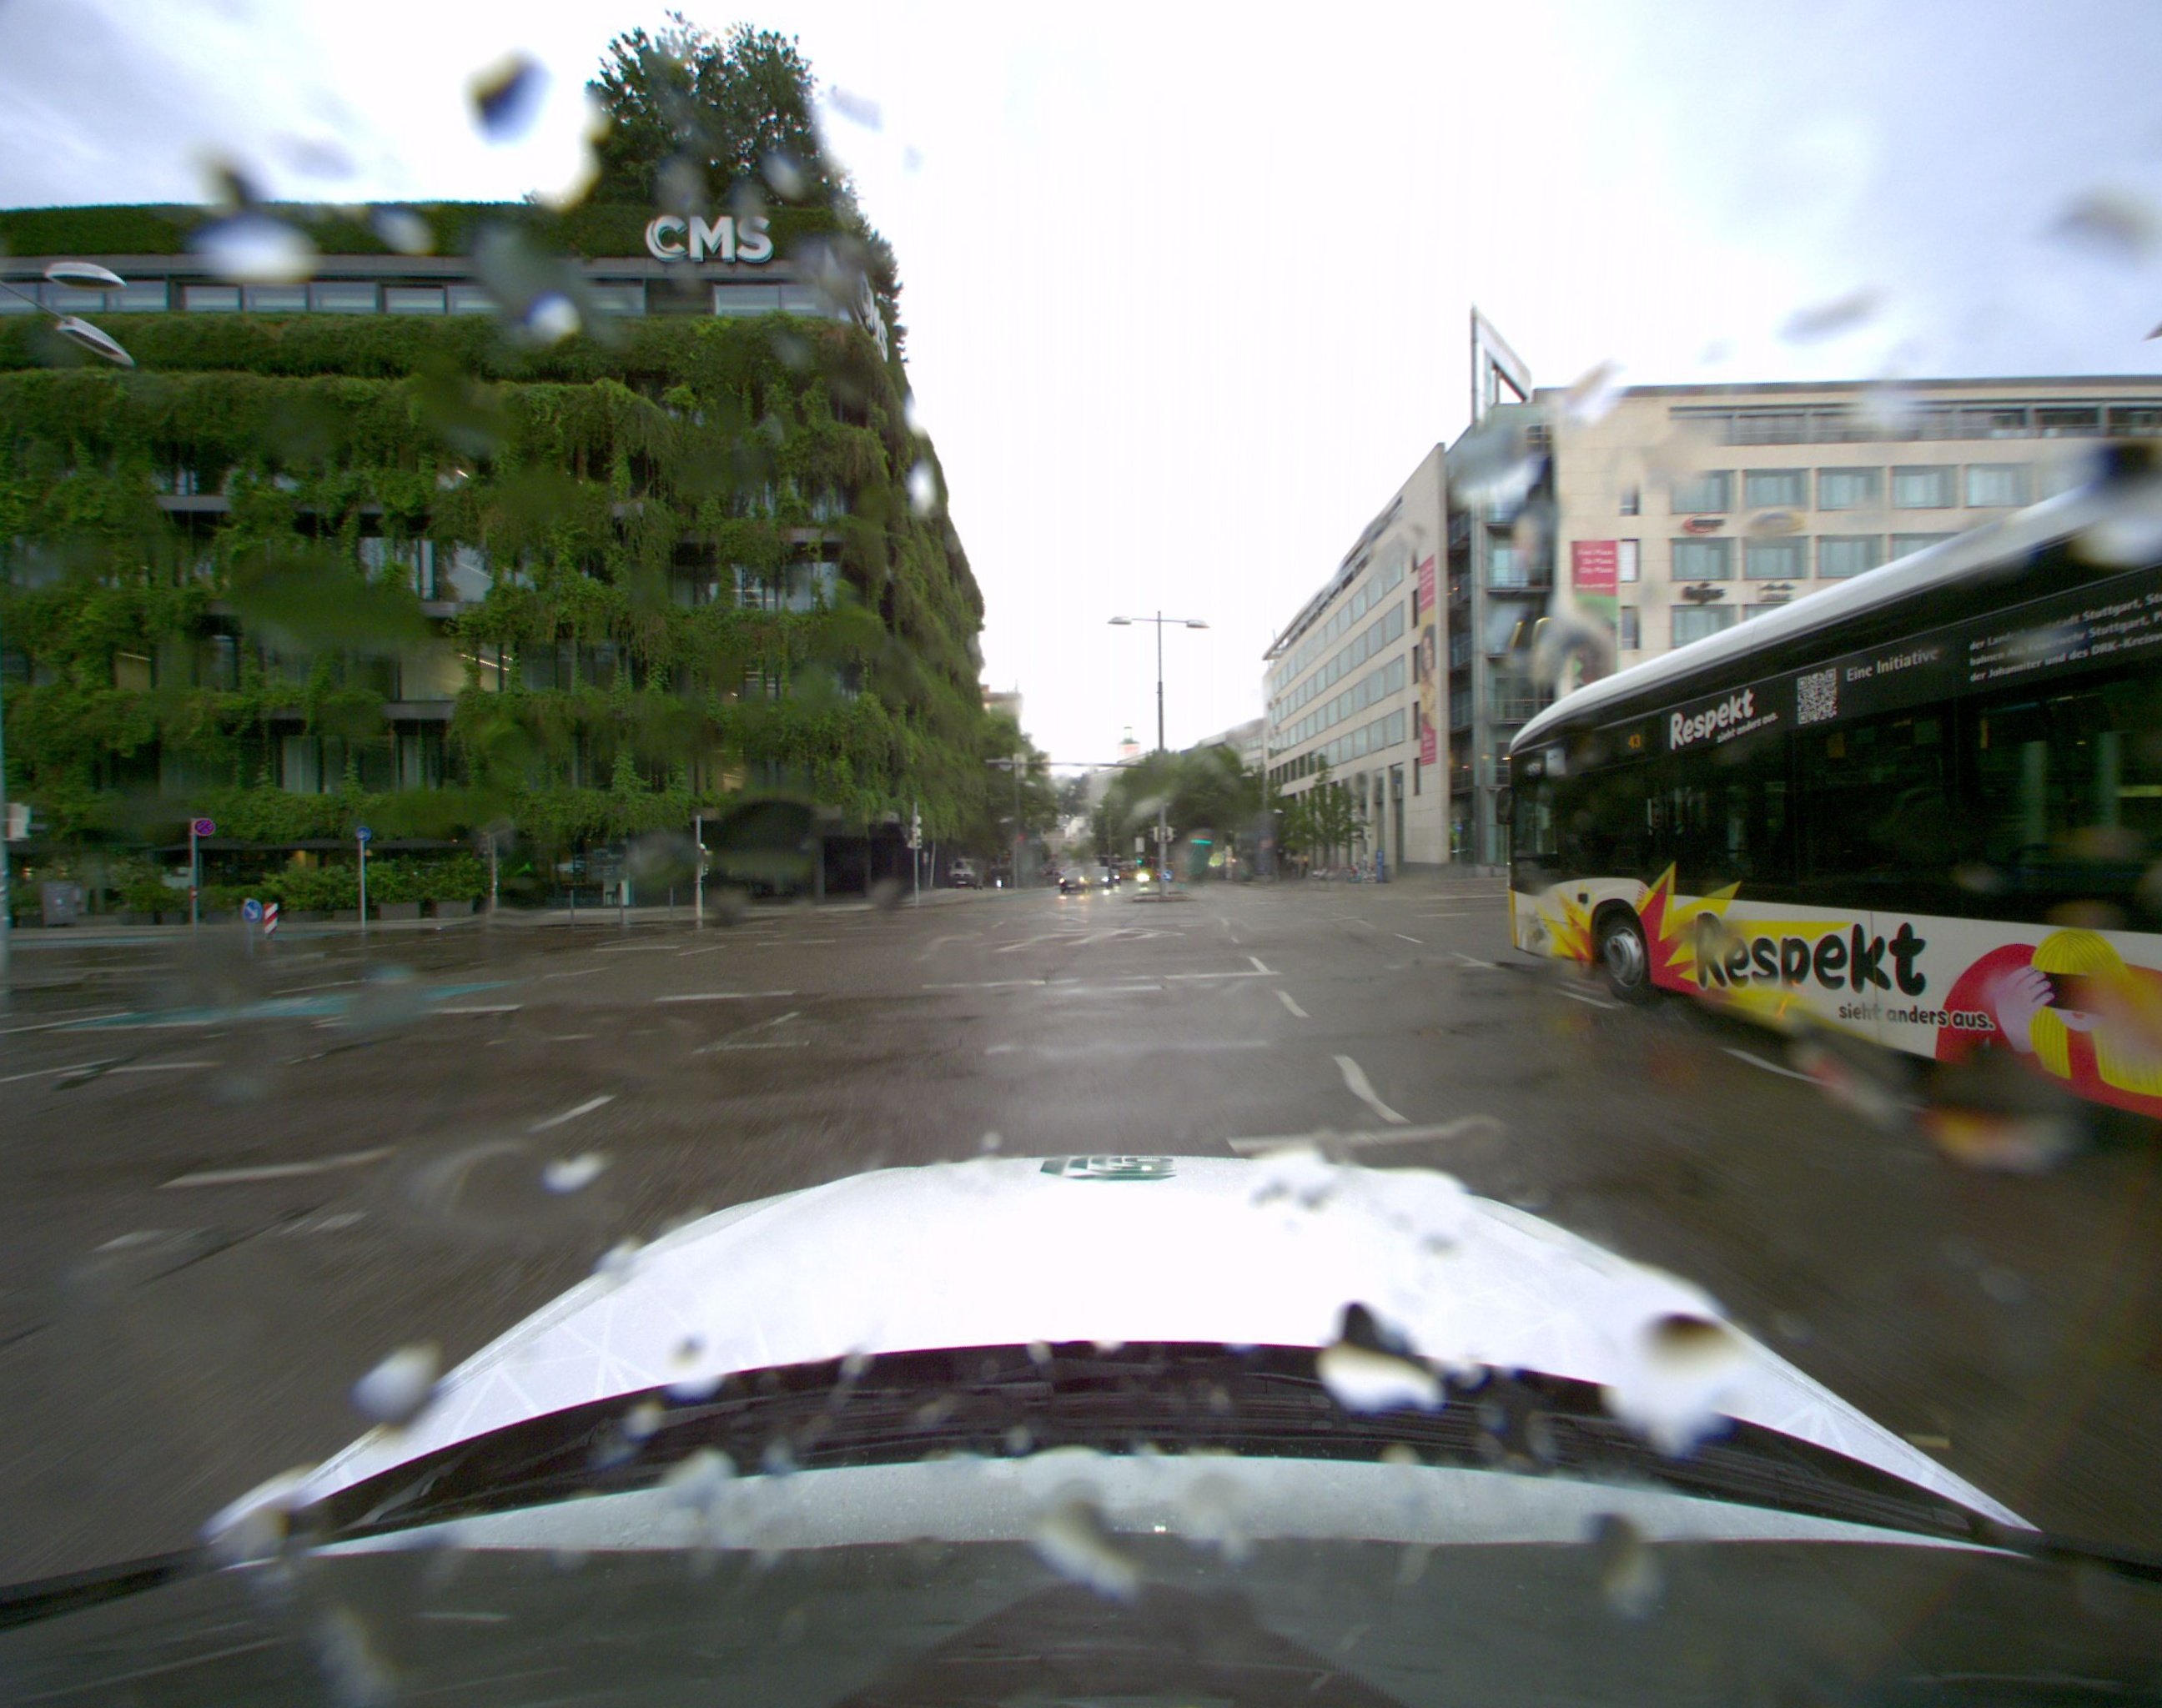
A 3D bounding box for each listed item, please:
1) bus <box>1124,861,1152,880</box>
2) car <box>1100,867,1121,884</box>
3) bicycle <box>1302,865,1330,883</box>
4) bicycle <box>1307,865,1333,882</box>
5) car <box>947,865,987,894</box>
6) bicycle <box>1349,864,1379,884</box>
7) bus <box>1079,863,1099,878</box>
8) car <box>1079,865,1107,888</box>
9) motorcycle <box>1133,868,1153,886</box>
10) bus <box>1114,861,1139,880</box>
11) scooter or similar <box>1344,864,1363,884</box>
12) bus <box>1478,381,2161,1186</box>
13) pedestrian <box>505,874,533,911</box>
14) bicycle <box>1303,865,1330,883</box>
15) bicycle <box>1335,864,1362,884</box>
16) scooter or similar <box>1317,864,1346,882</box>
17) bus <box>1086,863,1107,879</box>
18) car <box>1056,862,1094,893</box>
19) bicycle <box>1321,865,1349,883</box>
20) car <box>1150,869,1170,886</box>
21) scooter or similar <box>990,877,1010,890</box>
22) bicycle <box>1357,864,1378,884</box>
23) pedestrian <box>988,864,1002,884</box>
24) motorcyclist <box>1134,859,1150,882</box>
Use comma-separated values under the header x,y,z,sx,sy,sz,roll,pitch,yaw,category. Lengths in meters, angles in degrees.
x,y,z,sx,sy,sz,roll,pitch,yaw,category
9.046,2.636,130.891,2.629,2.995,7.420,-1,-1,-11,bus
3.199,2.334,87.855,2.156,1.765,5.113,-1,-1,2,car
16.447,1.406,56.967,1.768,1.194,0.587,-1,-2,6,bicycle
17.155,1.435,58.476,1.768,1.194,0.587,-1,-2,6,bicycle
-7.533,1.688,54.143,1.862,1.839,4.004,-1,-1,4,car
17.003,1.201,48.974,1.606,1.194,0.590,-2,-2,30,bicycle
1.647,3.352,165.896,2.629,2.995,7.420,-1,-1,-11,bus
1.038,1.813,65.896,2.156,1.765,5.113,-1,-1,2,car
5.414,2.021,71.350,1.546,1.515,4.385,-1,-1,2,motorcycle
7.669,2.782,138.155,2.629,2.995,7.420,-1,-1,-11,bus
16.195,1.195,48.342,0.952,1.194,0.458,-2,-2,44,scooter or similar
6.310,-0.254,5.908,2.869,3.451,9.770,-1,-1,5,bus
-20.420,1.382,29.600,0.611,1.311,0.598,-1,-1,-2,pedestrian
16.649,1.419,57.590,1.768,1.194,0.587,-1,-2,6,bicycle
16.600,1.245,50.558,0.587,1.194,1.769,0,-2,-24,bicycle
16.978,1.269,55.136,1.768,1.194,0.587,-1,-2,6,scooter or similar
3.030,3.221,158.681,2.629,2.995,7.299,-1,-1,-11,bus
-0.312,1.438,50.215,2.156,1.765,5.113,-1,-1,2,car
17.385,1.364,55.731,1.768,1.194,0.587,-1,-2,6,bicycle
9.698,2.905,100.106,1.542,2.014,4.657,-1,-1,-6,car
-6.782,2.450,68.338,0.616,1.004,1.670,-2,-1,42,scooter or similar
17.943,1.240,51.026,0.579,1.194,1.794,-2,-2,42,bicycle
-6.910,1.617,65.405,0.929,1.644,0.775,-1,-2,4,pedestrian
5.364,1.475,71.699,1.257,2.014,0.906,-1,-2,1,motorcyclist
